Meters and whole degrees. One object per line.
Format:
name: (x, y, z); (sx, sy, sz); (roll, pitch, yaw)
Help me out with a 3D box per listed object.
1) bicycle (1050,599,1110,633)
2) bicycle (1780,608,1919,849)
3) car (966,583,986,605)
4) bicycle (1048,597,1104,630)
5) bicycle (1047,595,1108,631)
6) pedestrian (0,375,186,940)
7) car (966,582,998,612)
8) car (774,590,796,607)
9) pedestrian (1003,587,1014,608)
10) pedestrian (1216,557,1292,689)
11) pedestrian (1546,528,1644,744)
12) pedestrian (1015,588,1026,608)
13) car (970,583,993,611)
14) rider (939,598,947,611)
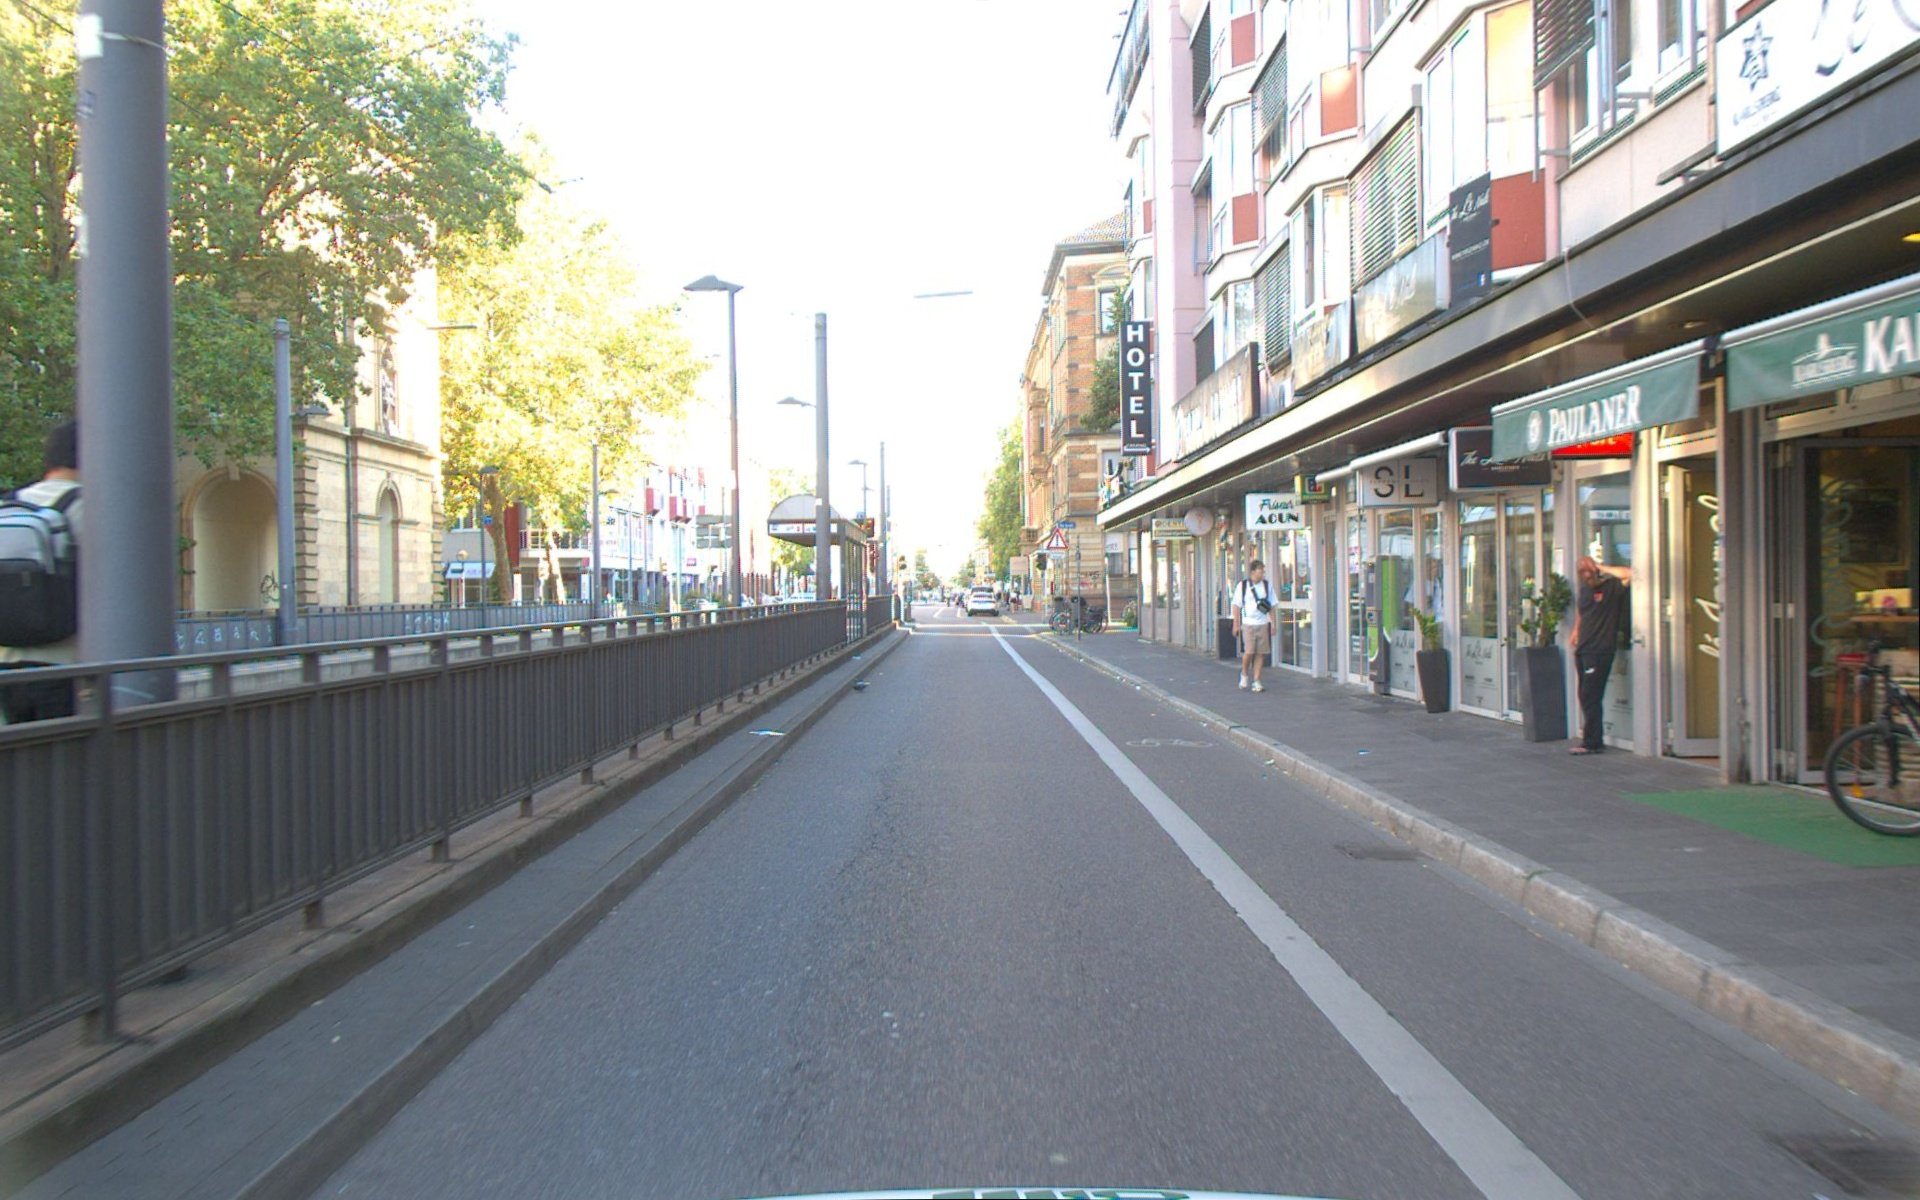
bicycle: (3.898, 0.520, 53.814); (1.875, 1.066, 0.681); (0, 0, -4)
bicycle: (4.861, 0.618, 8.142); (0.644, 1.085, 1.794); (-5, 0, -1)
car: (1.577, -0.551, 162.035); (1.930, 2.049, 4.558); (-2, 0, 1)
bicycle: (3.863, 0.447, 55.200); (1.797, 1.072, 0.717); (0, 0, -4)
bicycle: (3.875, 0.428, 54.471); (1.931, 1.124, 0.614); (-1, 0, -4)
pedestrian: (-3.065, 0.185, 5.639); (0.571, 1.823, 0.606); (0, 0, -2)
car: (1.364, -0.190, 104.141); (1.926, 1.802, 4.875); (1, 0, 1)
car: (-17.140, -0.169, 162.003); (1.832, 1.628, 4.252); (0, 0, -3)
pedestrian: (3.800, -0.194, 130.838); (0.760, 1.594, 0.914); (-4, 0, 1)
pedestrian: (4.082, 0.318, 23.042); (0.782, 1.752, 1.061); (-4, -1, 1)
pedestrian: (5.151, 0.285, 13.426); (0.531, 1.702, 0.468); (-2, 0, -9)
pedestrian: (4.786, -0.162, 130.800); (0.760, 1.594, 0.914); (-4, 0, 1)
car: (1.643, -0.225, 127.005); (1.670, 2.157, 3.707); (0, -1, 3)
rider: (-2.003, 0.514, 193.280); (0.865, 1.507, 0.713); (1, 0, 1)
